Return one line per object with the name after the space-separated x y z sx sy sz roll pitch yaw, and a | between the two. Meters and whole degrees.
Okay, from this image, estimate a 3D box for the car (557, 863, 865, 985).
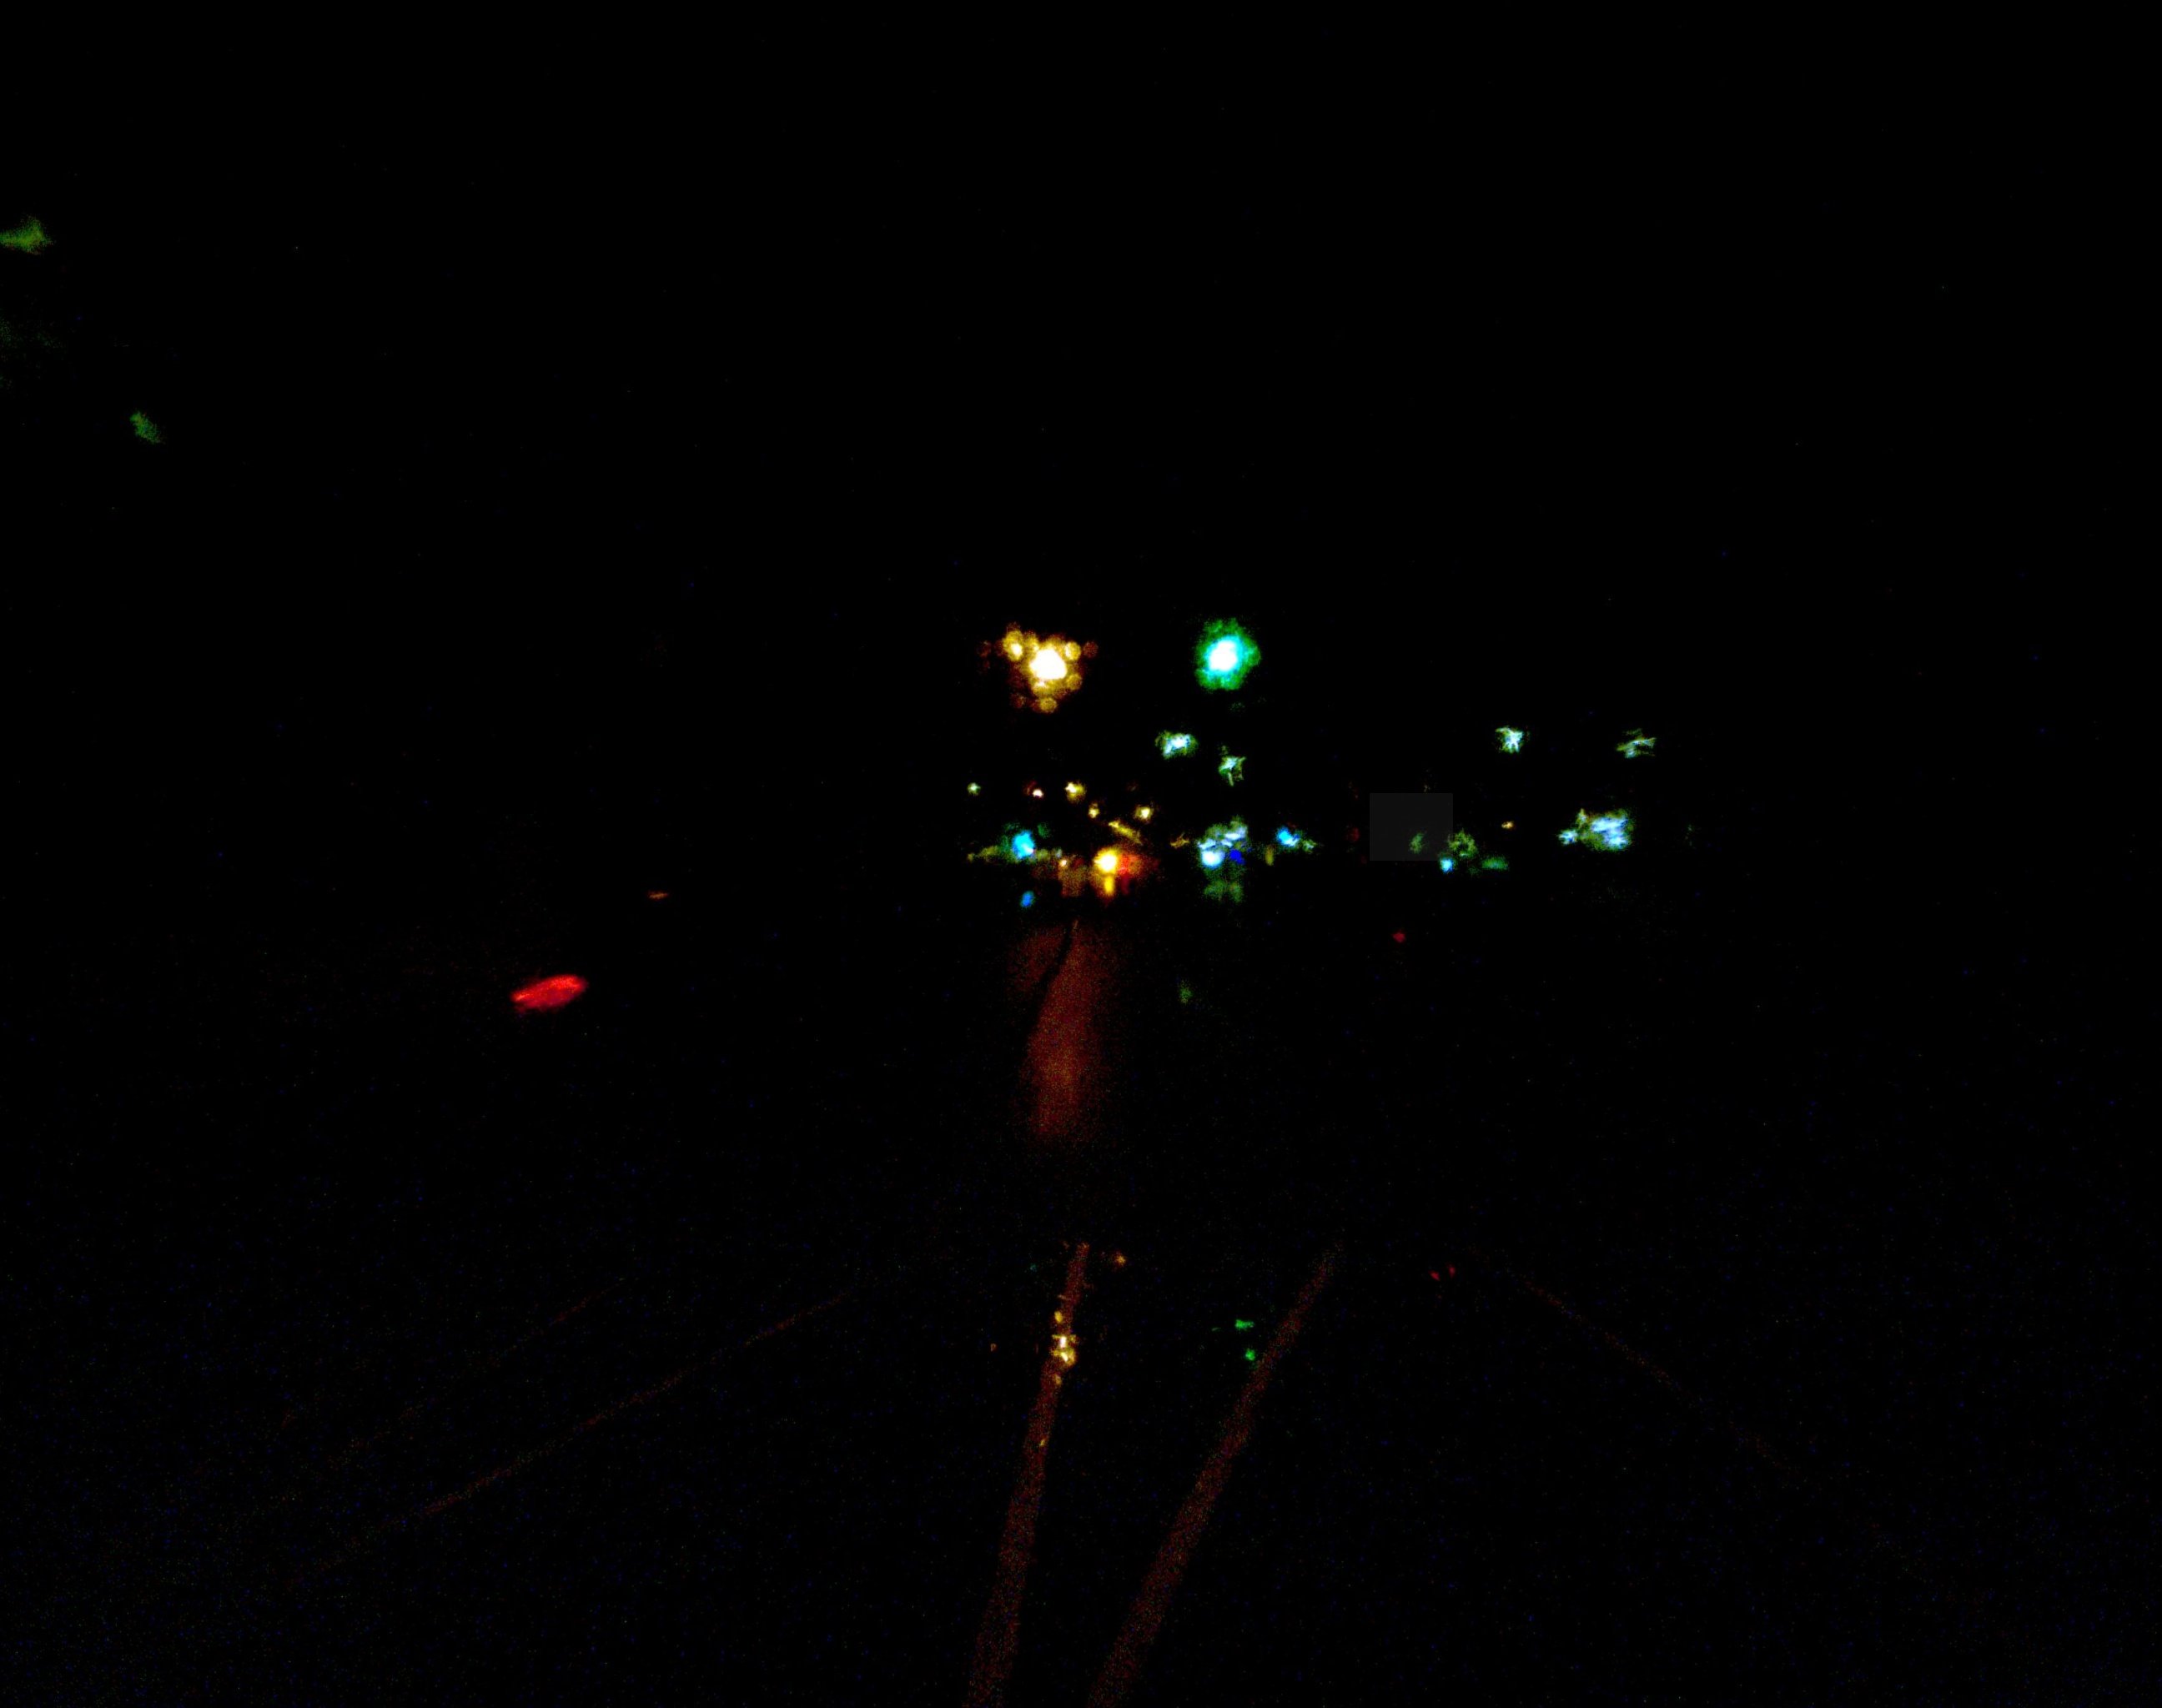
-5.666 0.970 11.989 4.058 1.552 1.747 -1 1 -27 | car

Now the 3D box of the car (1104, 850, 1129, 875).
2.701 0.631 58.526 1.810 1.759 4.272 -2 0 2 | car

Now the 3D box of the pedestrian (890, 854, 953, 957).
-2.856 0.889 13.724 0.824 1.760 1.177 -1 1 1 | pedestrian

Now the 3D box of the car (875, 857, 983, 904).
-5.496 0.914 27.555 3.488 1.552 1.633 -1 1 -32 | car

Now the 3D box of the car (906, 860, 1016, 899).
-4.849 0.981 30.950 4.123 1.483 1.590 0 0 -36 | car

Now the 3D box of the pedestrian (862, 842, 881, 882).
-8.713 0.325 31.578 0.575 1.654 0.601 0 -2 1 | pedestrian

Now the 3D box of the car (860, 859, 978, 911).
-5.304 0.971 24.975 3.403 1.552 1.634 -1 1 -35 | car

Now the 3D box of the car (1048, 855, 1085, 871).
-1.378 0.843 70.492 1.831 1.417 4.197 -1 0 -27 | car

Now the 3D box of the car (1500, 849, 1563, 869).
35.920 0.430 60.762 4.210 1.557 1.853 -1 0 27 | car

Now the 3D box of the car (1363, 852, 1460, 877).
19.846 0.604 45.729 5.054 1.417 2.004 -1 0 36 | car

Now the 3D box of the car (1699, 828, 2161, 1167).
6.222 0.682 4.373 1.816 1.660 4.411 -2 0 2 | car

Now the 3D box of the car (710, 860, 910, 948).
-5.474 0.923 15.473 3.517 1.552 1.590 -1 1 -34 | car

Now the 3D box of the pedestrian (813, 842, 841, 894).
-8.931 0.498 26.739 0.657 1.779 0.784 0 -2 1 | pedestrian

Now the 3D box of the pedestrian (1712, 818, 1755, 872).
20.426 -0.280 23.795 0.630 1.666 0.791 -2 1 -25 | pedestrian

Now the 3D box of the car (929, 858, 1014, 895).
-4.882 0.964 33.955 3.403 1.583 1.590 0 0 -35 | car

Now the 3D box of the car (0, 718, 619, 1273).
-5.358 0.603 3.974 4.950 2.327 2.226 -1 1 -32 | car

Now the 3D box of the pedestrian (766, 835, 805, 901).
-8.353 0.394 21.507 0.747 1.829 0.871 0 -2 1 | pedestrian

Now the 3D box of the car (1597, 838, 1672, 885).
21.686 0.285 29.936 1.696 1.718 4.007 1 0 26 | car

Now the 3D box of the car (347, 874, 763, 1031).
-5.883 0.999 8.997 3.736 1.459 1.610 0 0 -29 | car

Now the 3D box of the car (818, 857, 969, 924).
-5.309 0.960 21.559 3.808 1.679 1.832 -1 0 -29 | car

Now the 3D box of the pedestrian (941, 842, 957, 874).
-7.845 0.241 45.159 0.806 1.894 0.884 0 -2 1 | pedestrian

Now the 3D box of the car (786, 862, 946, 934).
-5.235 0.996 18.600 3.403 1.552 1.590 -1 1 -35 | car

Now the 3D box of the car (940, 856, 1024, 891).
-4.709 0.902 36.443 3.608 1.552 1.707 -1 1 -37 | car

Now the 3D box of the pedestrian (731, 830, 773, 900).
-9.143 0.322 21.122 0.747 1.892 0.843 0 -2 1 | pedestrian
